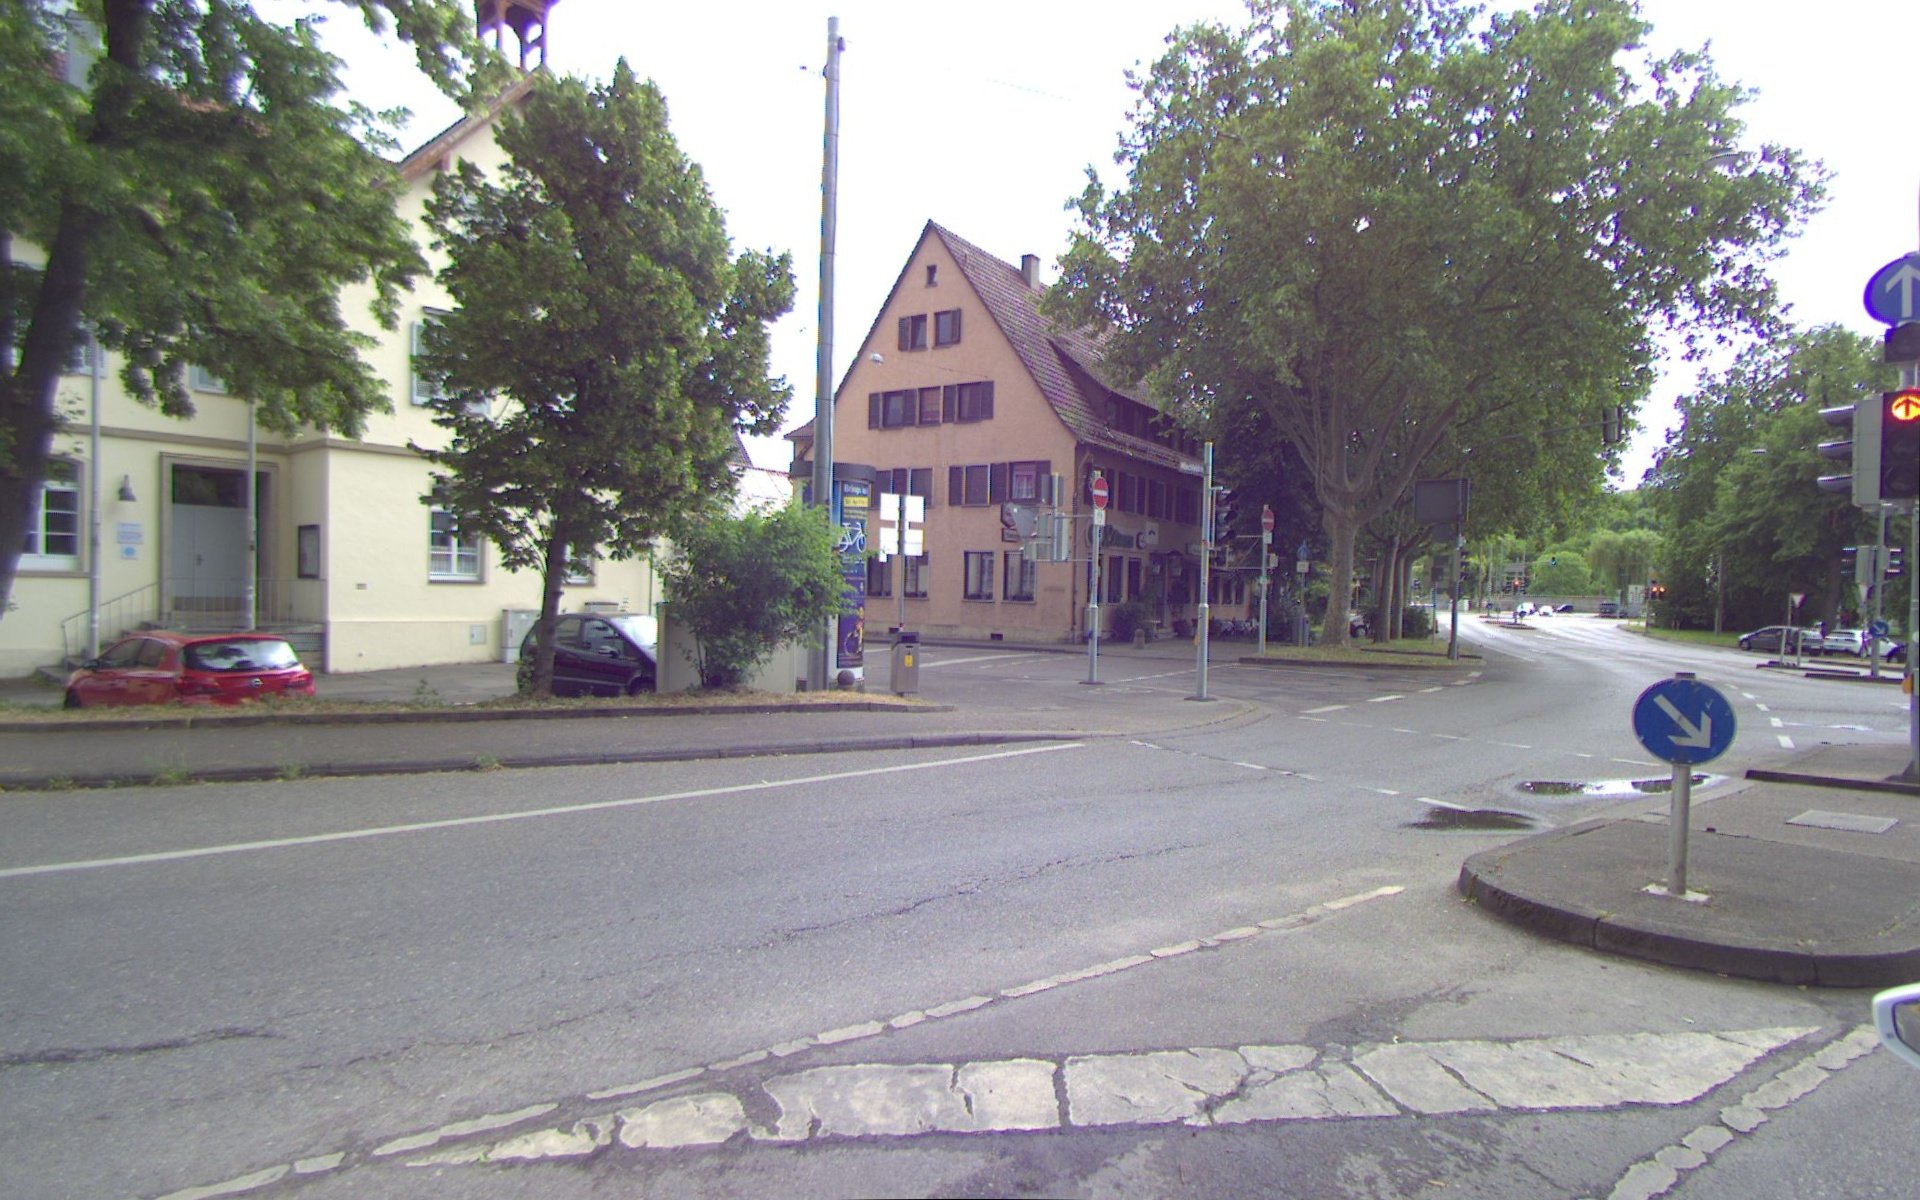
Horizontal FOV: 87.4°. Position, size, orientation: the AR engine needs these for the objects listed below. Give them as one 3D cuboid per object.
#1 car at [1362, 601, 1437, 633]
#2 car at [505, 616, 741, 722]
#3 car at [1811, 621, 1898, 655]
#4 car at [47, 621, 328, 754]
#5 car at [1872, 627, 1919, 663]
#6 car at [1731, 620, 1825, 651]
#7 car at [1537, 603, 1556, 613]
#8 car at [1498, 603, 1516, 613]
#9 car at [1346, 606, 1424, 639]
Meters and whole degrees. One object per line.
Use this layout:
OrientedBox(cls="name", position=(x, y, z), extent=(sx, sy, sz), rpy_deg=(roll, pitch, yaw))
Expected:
OrientedBox(cls="car", position=(25.732, 1.002, 58.784), extent=(3.924, 1.706, 1.998), rpy_deg=(1, 0, 25))
OrientedBox(cls="car", position=(-5.528, 1.054, 16.441), extent=(3.507, 1.459, 1.644), rpy_deg=(2, 0, 26))
OrientedBox(cls="car", position=(47.465, 2.033, 53.327), extent=(3.696, 1.662, 1.859), rpy_deg=(2, 0, -19))
OrientedBox(cls="car", position=(-10.266, 1.051, 13.314), extent=(3.653, 1.401, 1.659), rpy_deg=(2, 0, 30))
OrientedBox(cls="car", position=(39.450, 1.856, 40.766), extent=(1.746, 1.370, 3.326), rpy_deg=(2, 0, -2))
OrientedBox(cls="car", position=(43.821, 1.871, 53.908), extent=(1.592, 1.485, 3.778), rpy_deg=(2, 0, -11))
OrientedBox(cls="car", position=(90.818, 1.189, 155.530), extent=(1.469, 1.436, 3.028), rpy_deg=(3, 0, 11))
OrientedBox(cls="car", position=(85.254, 1.281, 156.525), extent=(1.553, 1.506, 3.337), rpy_deg=(3, 0, 12))
OrientedBox(cls="car", position=(24.000, 1.246, 56.708), extent=(3.924, 1.706, 1.998), rpy_deg=(1, 0, 25))
